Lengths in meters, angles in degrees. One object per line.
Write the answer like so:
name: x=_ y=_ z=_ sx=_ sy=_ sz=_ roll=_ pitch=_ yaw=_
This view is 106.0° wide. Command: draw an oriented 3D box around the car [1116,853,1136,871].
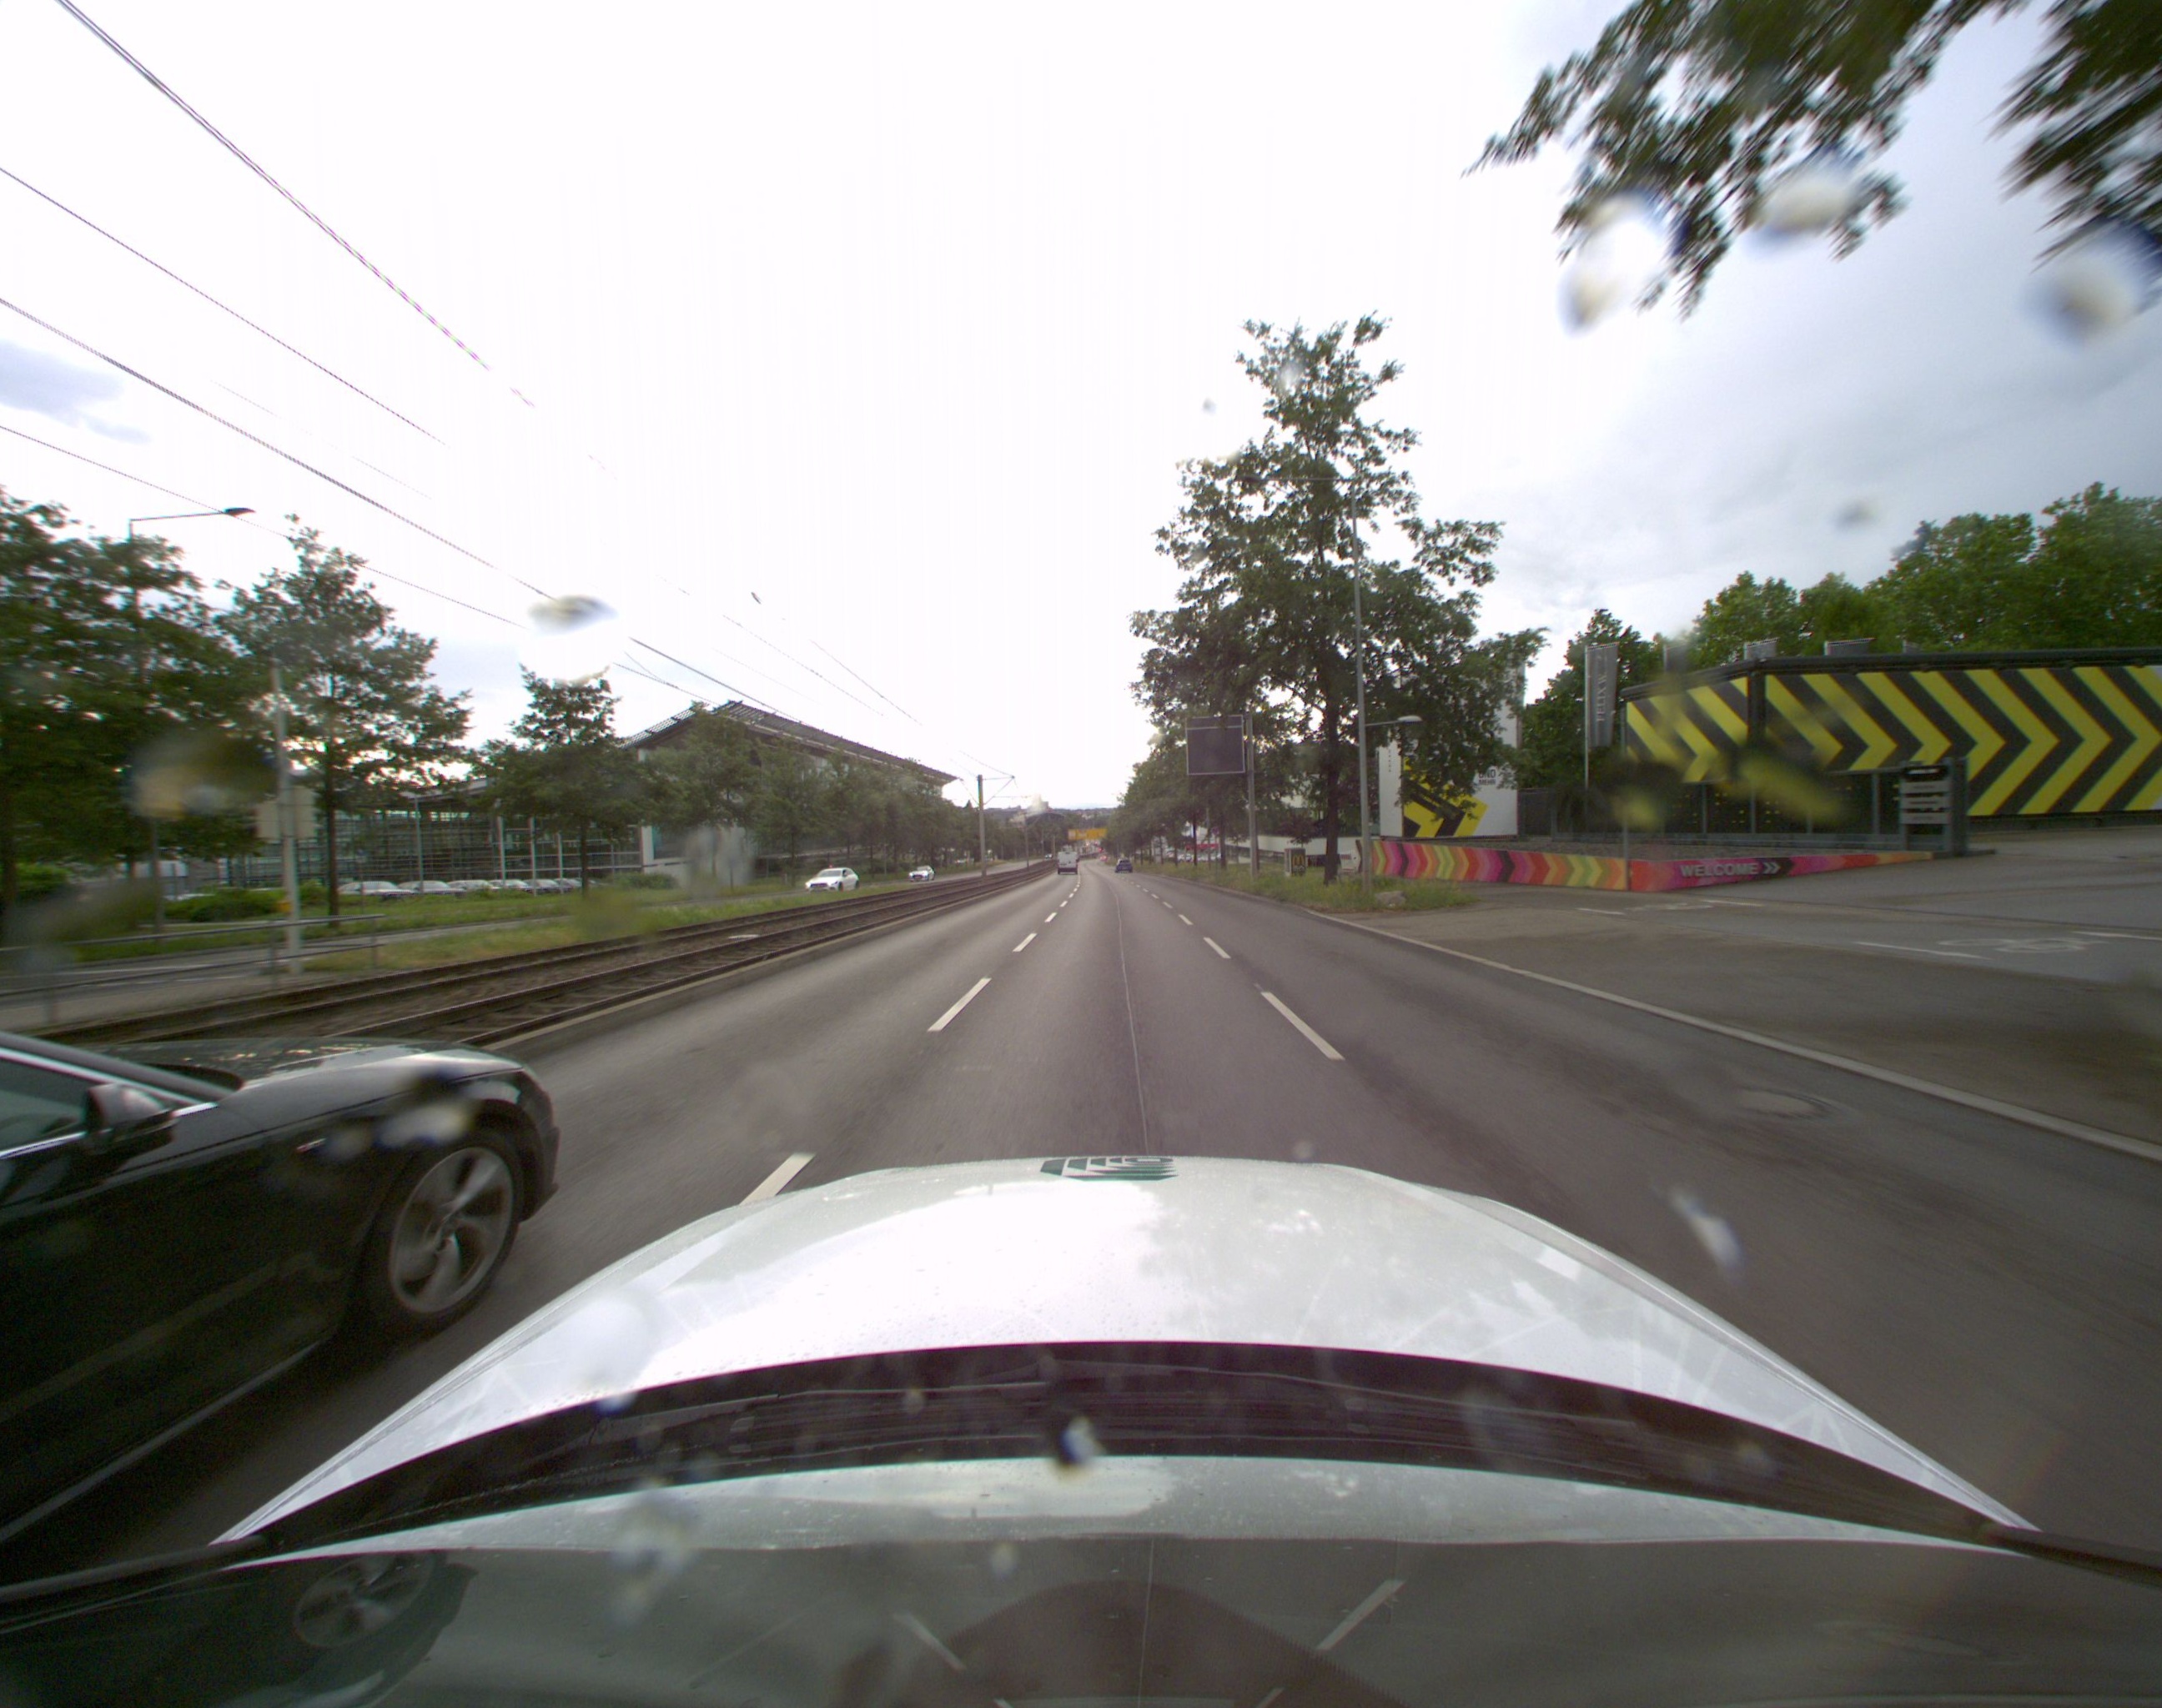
car: x=4.889 y=0.865 z=88.748 sx=1.986 sy=2.014 sz=3.936 roll=0 pitch=0 yaw=2

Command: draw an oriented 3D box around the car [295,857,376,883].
car: x=-52.556 y=1.131 z=57.484 sx=4.054 sy=1.836 sz=1.864 roll=0 pitch=-1 yaw=3

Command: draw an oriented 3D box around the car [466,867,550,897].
car: x=-36.185 y=1.749 z=51.495 sx=4.054 sy=1.836 sz=1.864 roll=0 pitch=-1 yaw=3

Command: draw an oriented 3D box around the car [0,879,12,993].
car: x=-18.634 y=1.397 z=10.866 sx=1.986 sy=1.847 sz=5.003 roll=-3 pitch=0 yaw=1

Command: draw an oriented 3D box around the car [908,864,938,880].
car: x=-15.101 y=1.708 z=78.092 sx=1.874 sy=1.447 sz=4.139 roll=-2 pitch=0 yaw=2

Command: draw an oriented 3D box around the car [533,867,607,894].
car: x=-35.912 y=1.851 z=57.327 sx=4.054 sy=1.836 sz=1.864 roll=0 pitch=-1 yaw=3

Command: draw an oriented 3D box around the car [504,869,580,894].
car: x=-36.084 y=1.813 z=54.561 sx=4.036 sy=1.618 sz=1.639 roll=0 pitch=-1 yaw=3

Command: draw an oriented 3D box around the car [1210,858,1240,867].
car: x=20.571 y=1.219 z=116.521 sx=3.968 sy=1.354 sz=2.002 roll=0 pitch=0 yaw=4

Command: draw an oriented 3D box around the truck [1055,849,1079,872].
truck: x=-1.407 y=0.653 z=83.537 sx=2.353 sy=2.262 sz=5.304 roll=0 pitch=0 yaw=0

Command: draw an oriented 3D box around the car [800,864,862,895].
car: x=-13.697 y=1.340 z=44.872 sx=1.830 sy=1.444 sz=4.430 roll=-3 pitch=0 yaw=2

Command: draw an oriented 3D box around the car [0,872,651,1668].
car: x=-2.947 y=0.830 z=1.272 sx=1.783 sy=1.434 sz=4.832 roll=-1 pitch=0 yaw=2
